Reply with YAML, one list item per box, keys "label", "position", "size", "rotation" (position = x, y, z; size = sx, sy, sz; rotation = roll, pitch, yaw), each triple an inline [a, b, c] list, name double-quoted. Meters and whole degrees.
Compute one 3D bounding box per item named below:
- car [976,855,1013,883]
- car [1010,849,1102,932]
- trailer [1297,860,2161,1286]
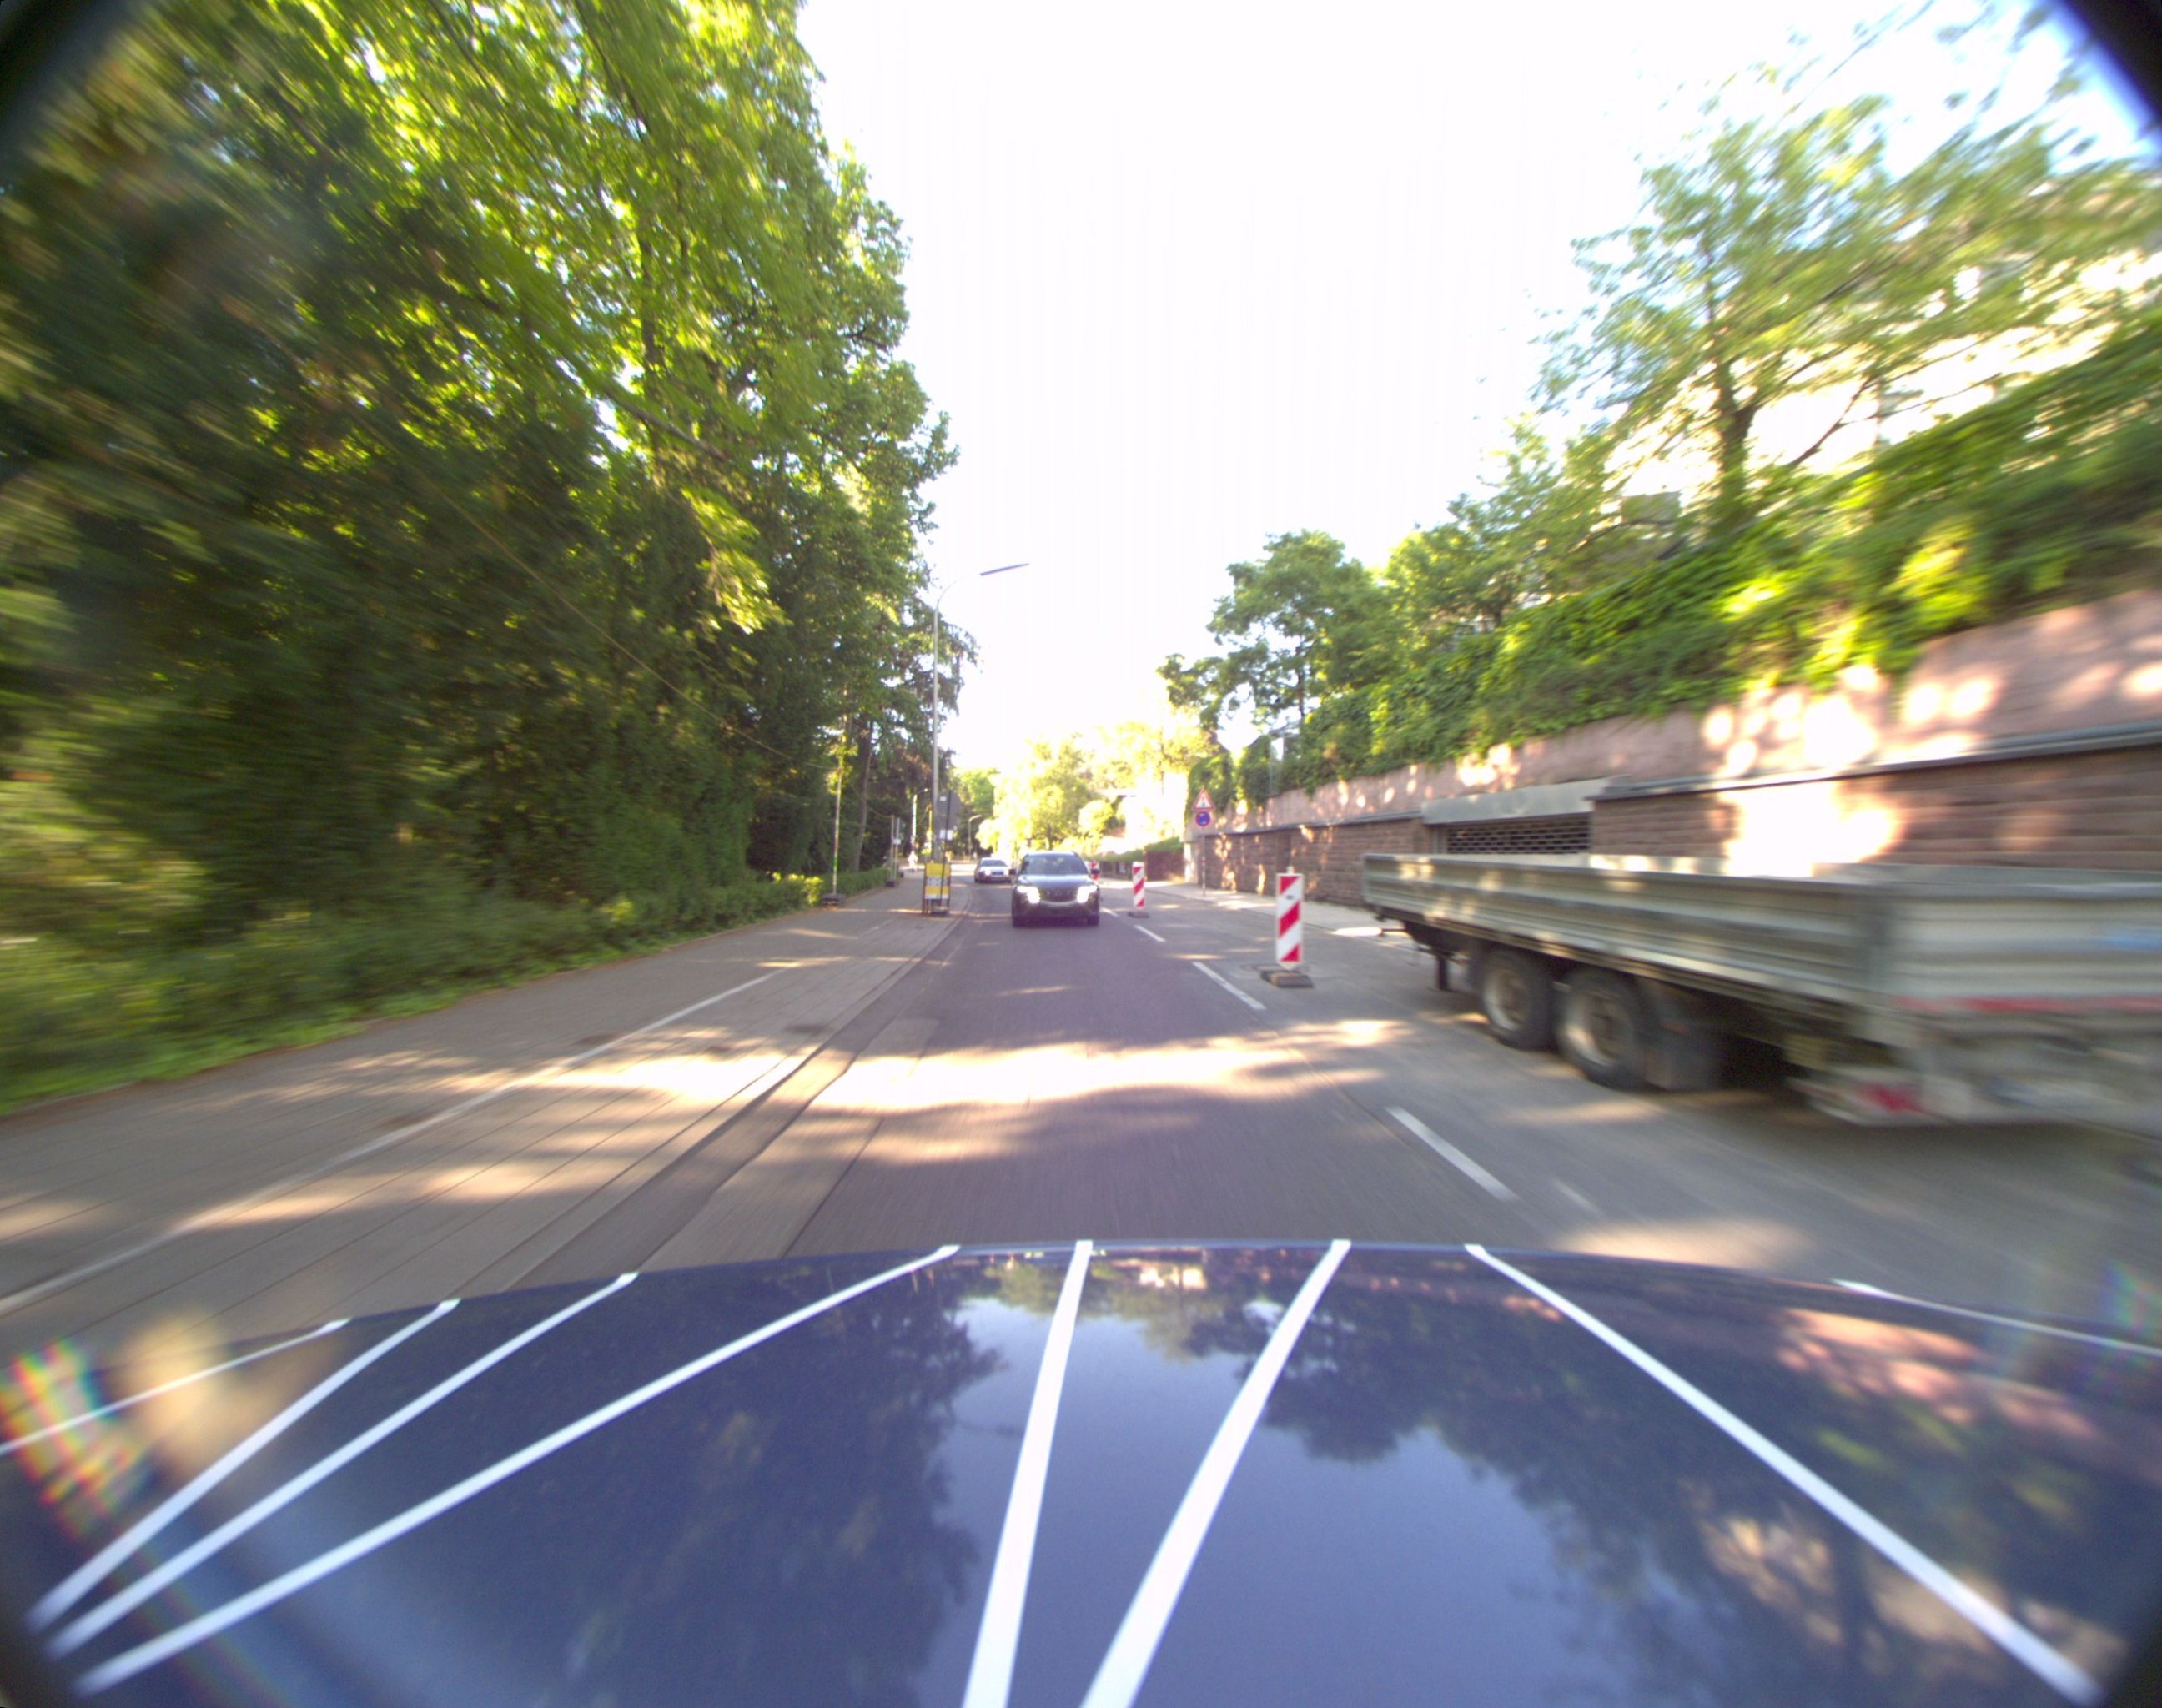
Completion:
- label: "car"
  position: [-5.019, 0.823, 43.715]
  size: [1.664, 1.468, 3.678]
  rotation: [-1, 1, -13]
- label: "car"
  position: [-0.705, 0.730, 17.759]
  size: [1.789, 1.639, 4.471]
  rotation: [-1, 1, -6]
- label: "trailer"
  position: [4.314, 0.864, 6.505]
  size: [2.647, 1.481, 7.116]
  rotation: [-1, 1, -2]
